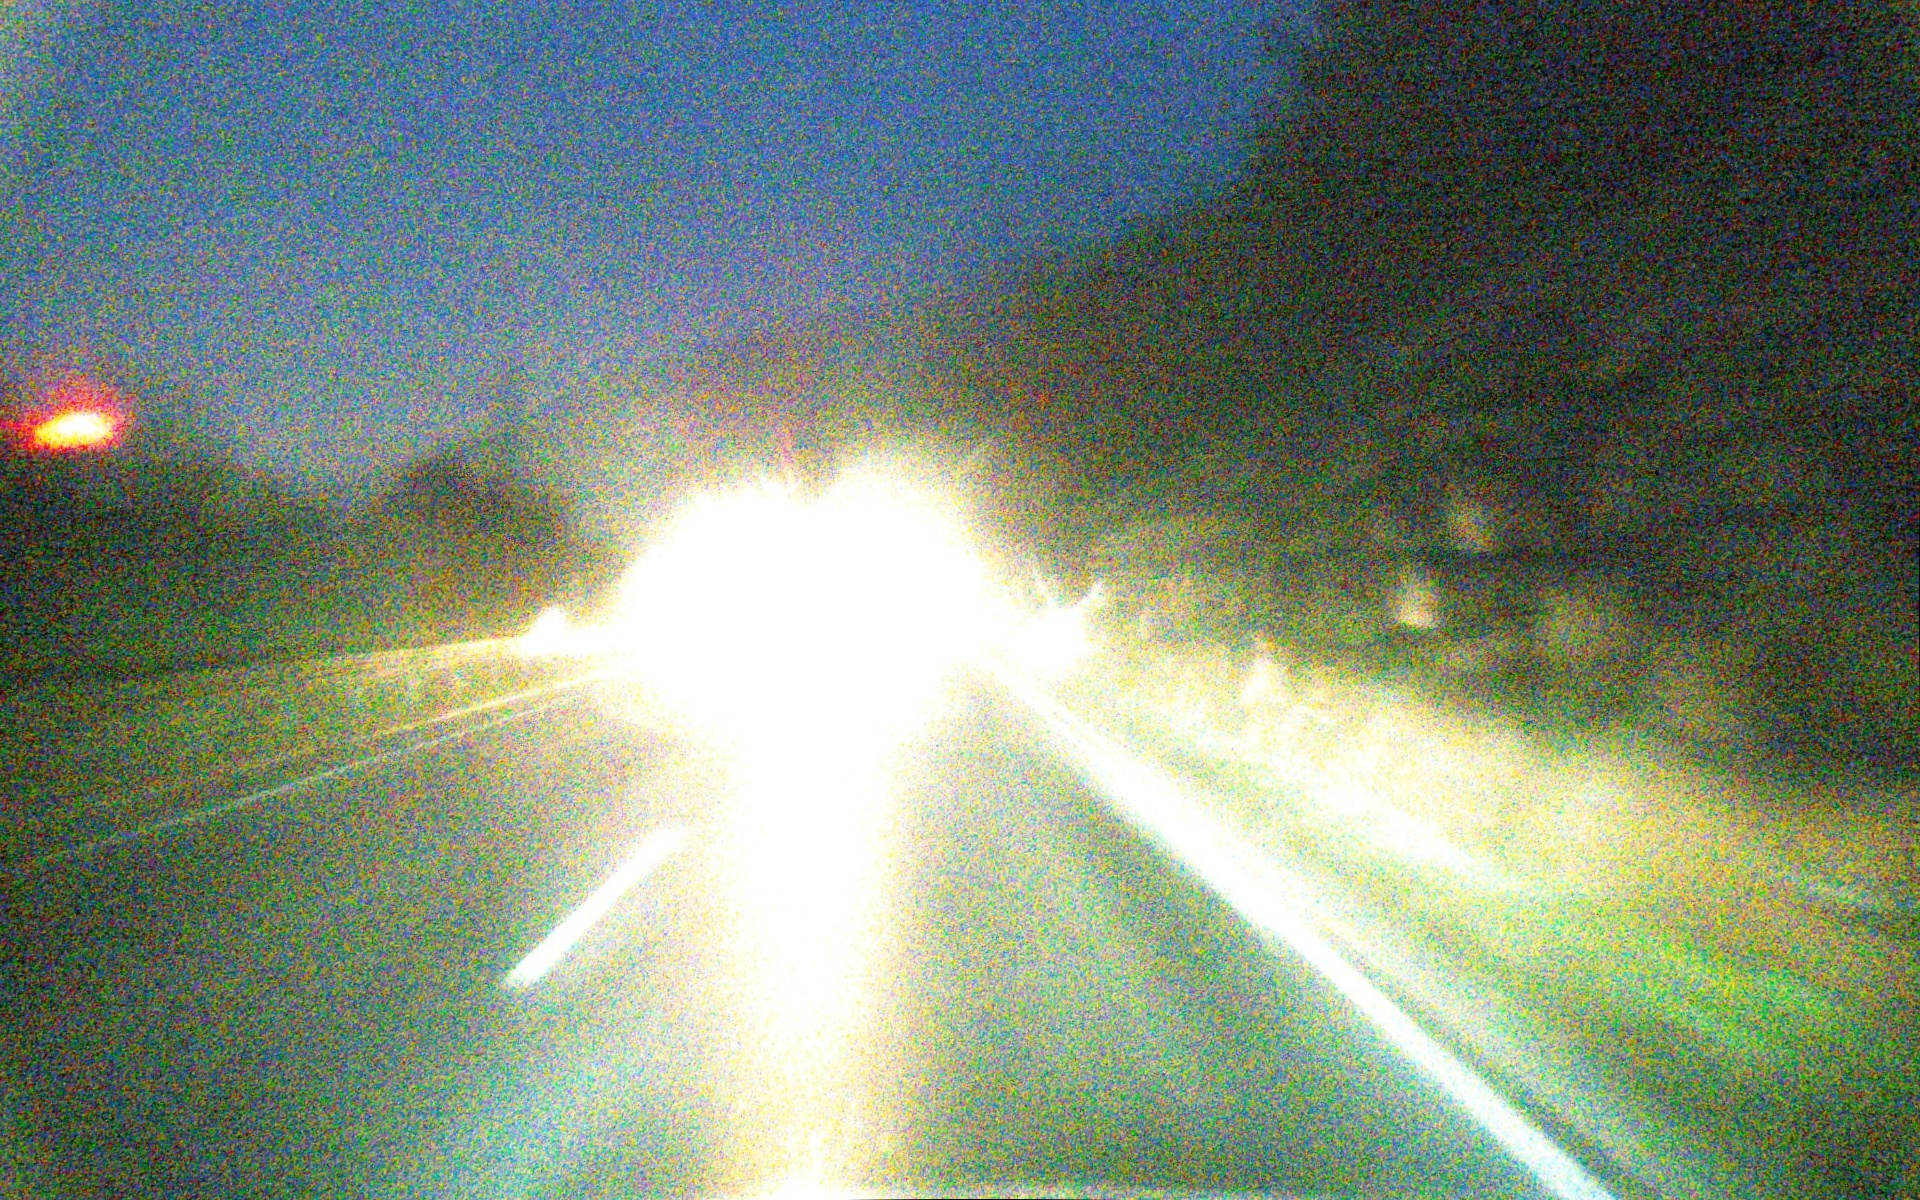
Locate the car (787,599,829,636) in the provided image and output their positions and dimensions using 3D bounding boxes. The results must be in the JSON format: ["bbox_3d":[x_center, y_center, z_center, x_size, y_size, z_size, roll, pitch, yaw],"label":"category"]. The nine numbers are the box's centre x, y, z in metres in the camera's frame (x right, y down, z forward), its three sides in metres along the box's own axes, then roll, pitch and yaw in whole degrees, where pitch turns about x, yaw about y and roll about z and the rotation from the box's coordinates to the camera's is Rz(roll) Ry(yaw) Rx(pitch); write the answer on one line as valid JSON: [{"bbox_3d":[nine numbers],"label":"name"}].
[{"bbox_3d":[-7.183,0.803,78.525,1.883,1.674,4.022,0,0,-4],"label":"car"}]
